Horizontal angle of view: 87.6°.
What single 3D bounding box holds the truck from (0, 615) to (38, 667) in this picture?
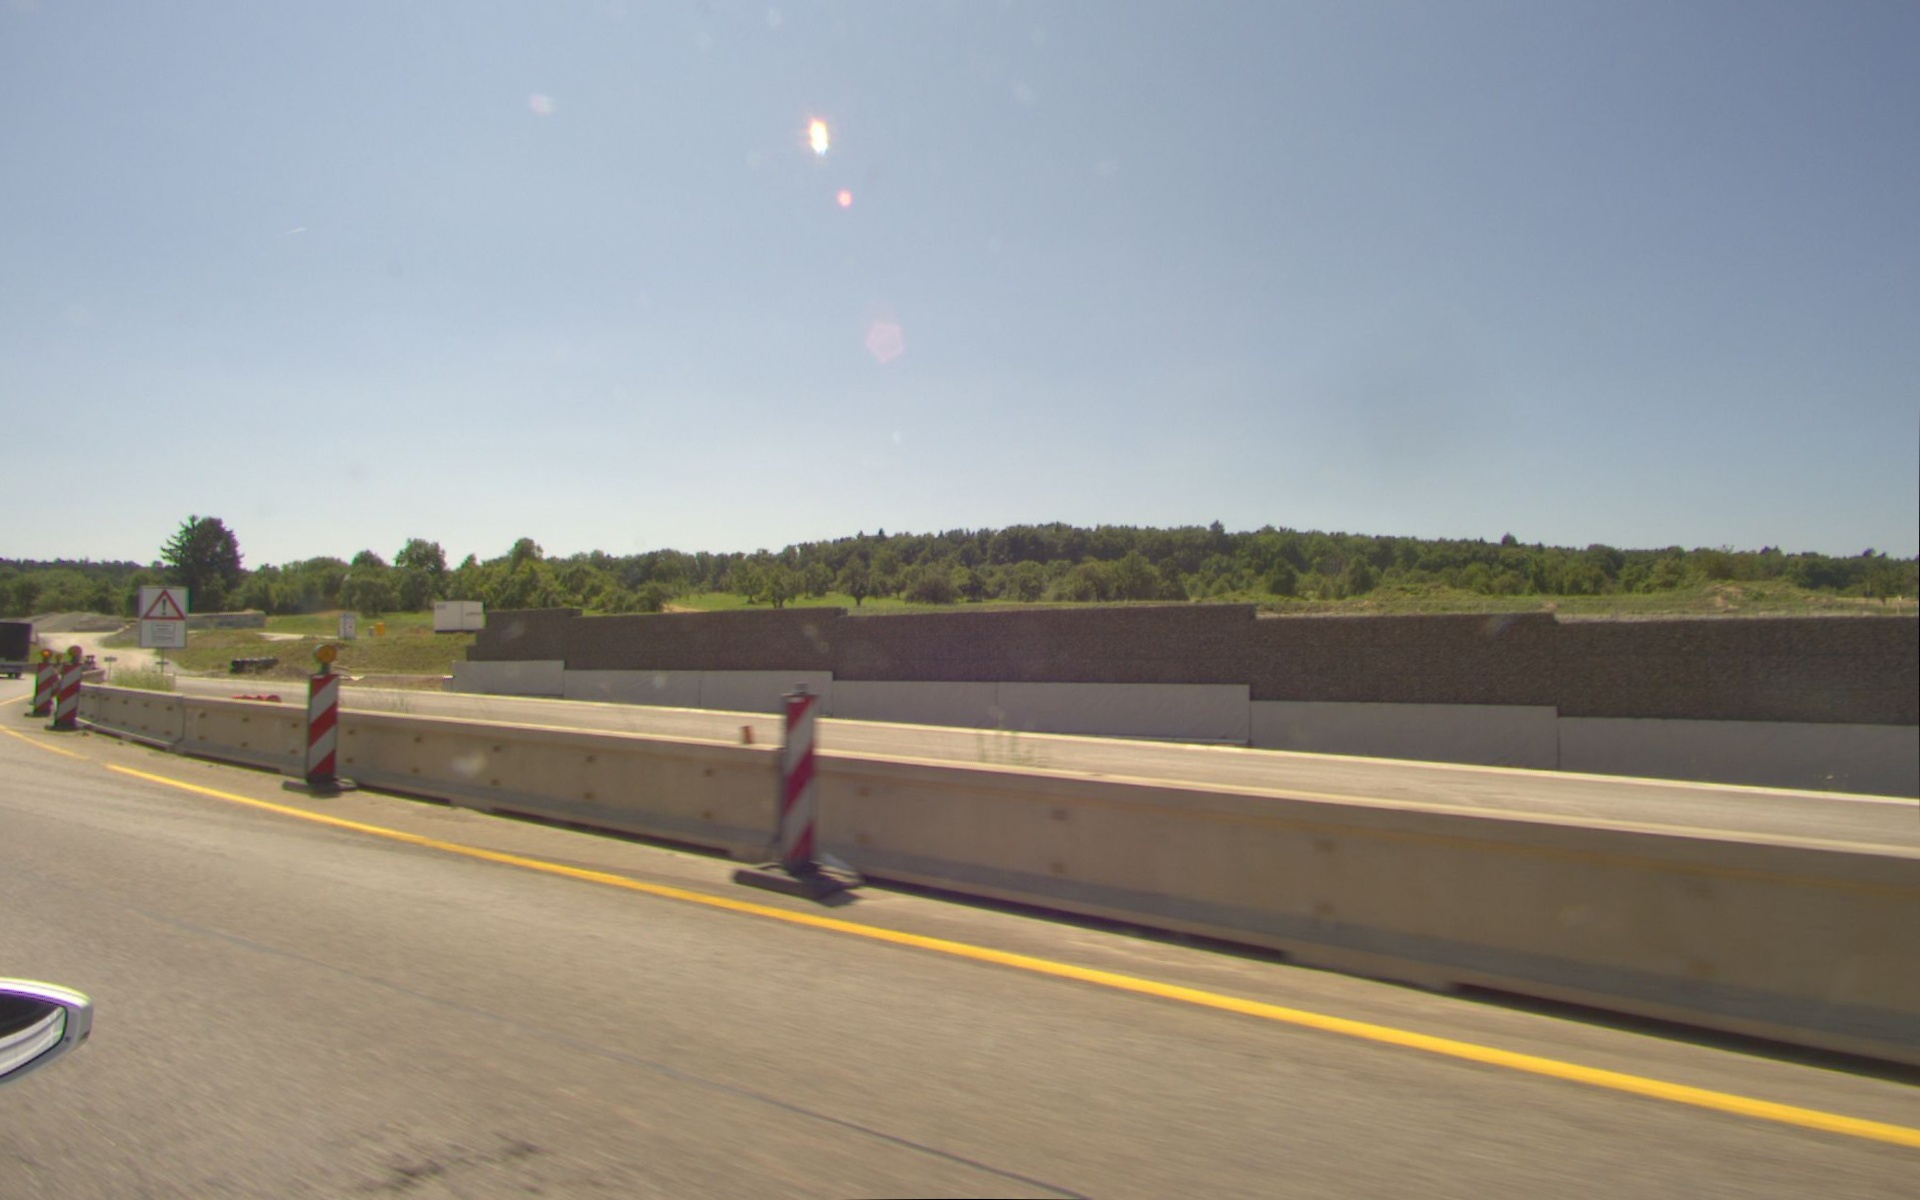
[{"bbox_3d":[-57.483,2.440,60.282,5.563,2.983,2.658,-1,-2,45],"label":"truck"}]
